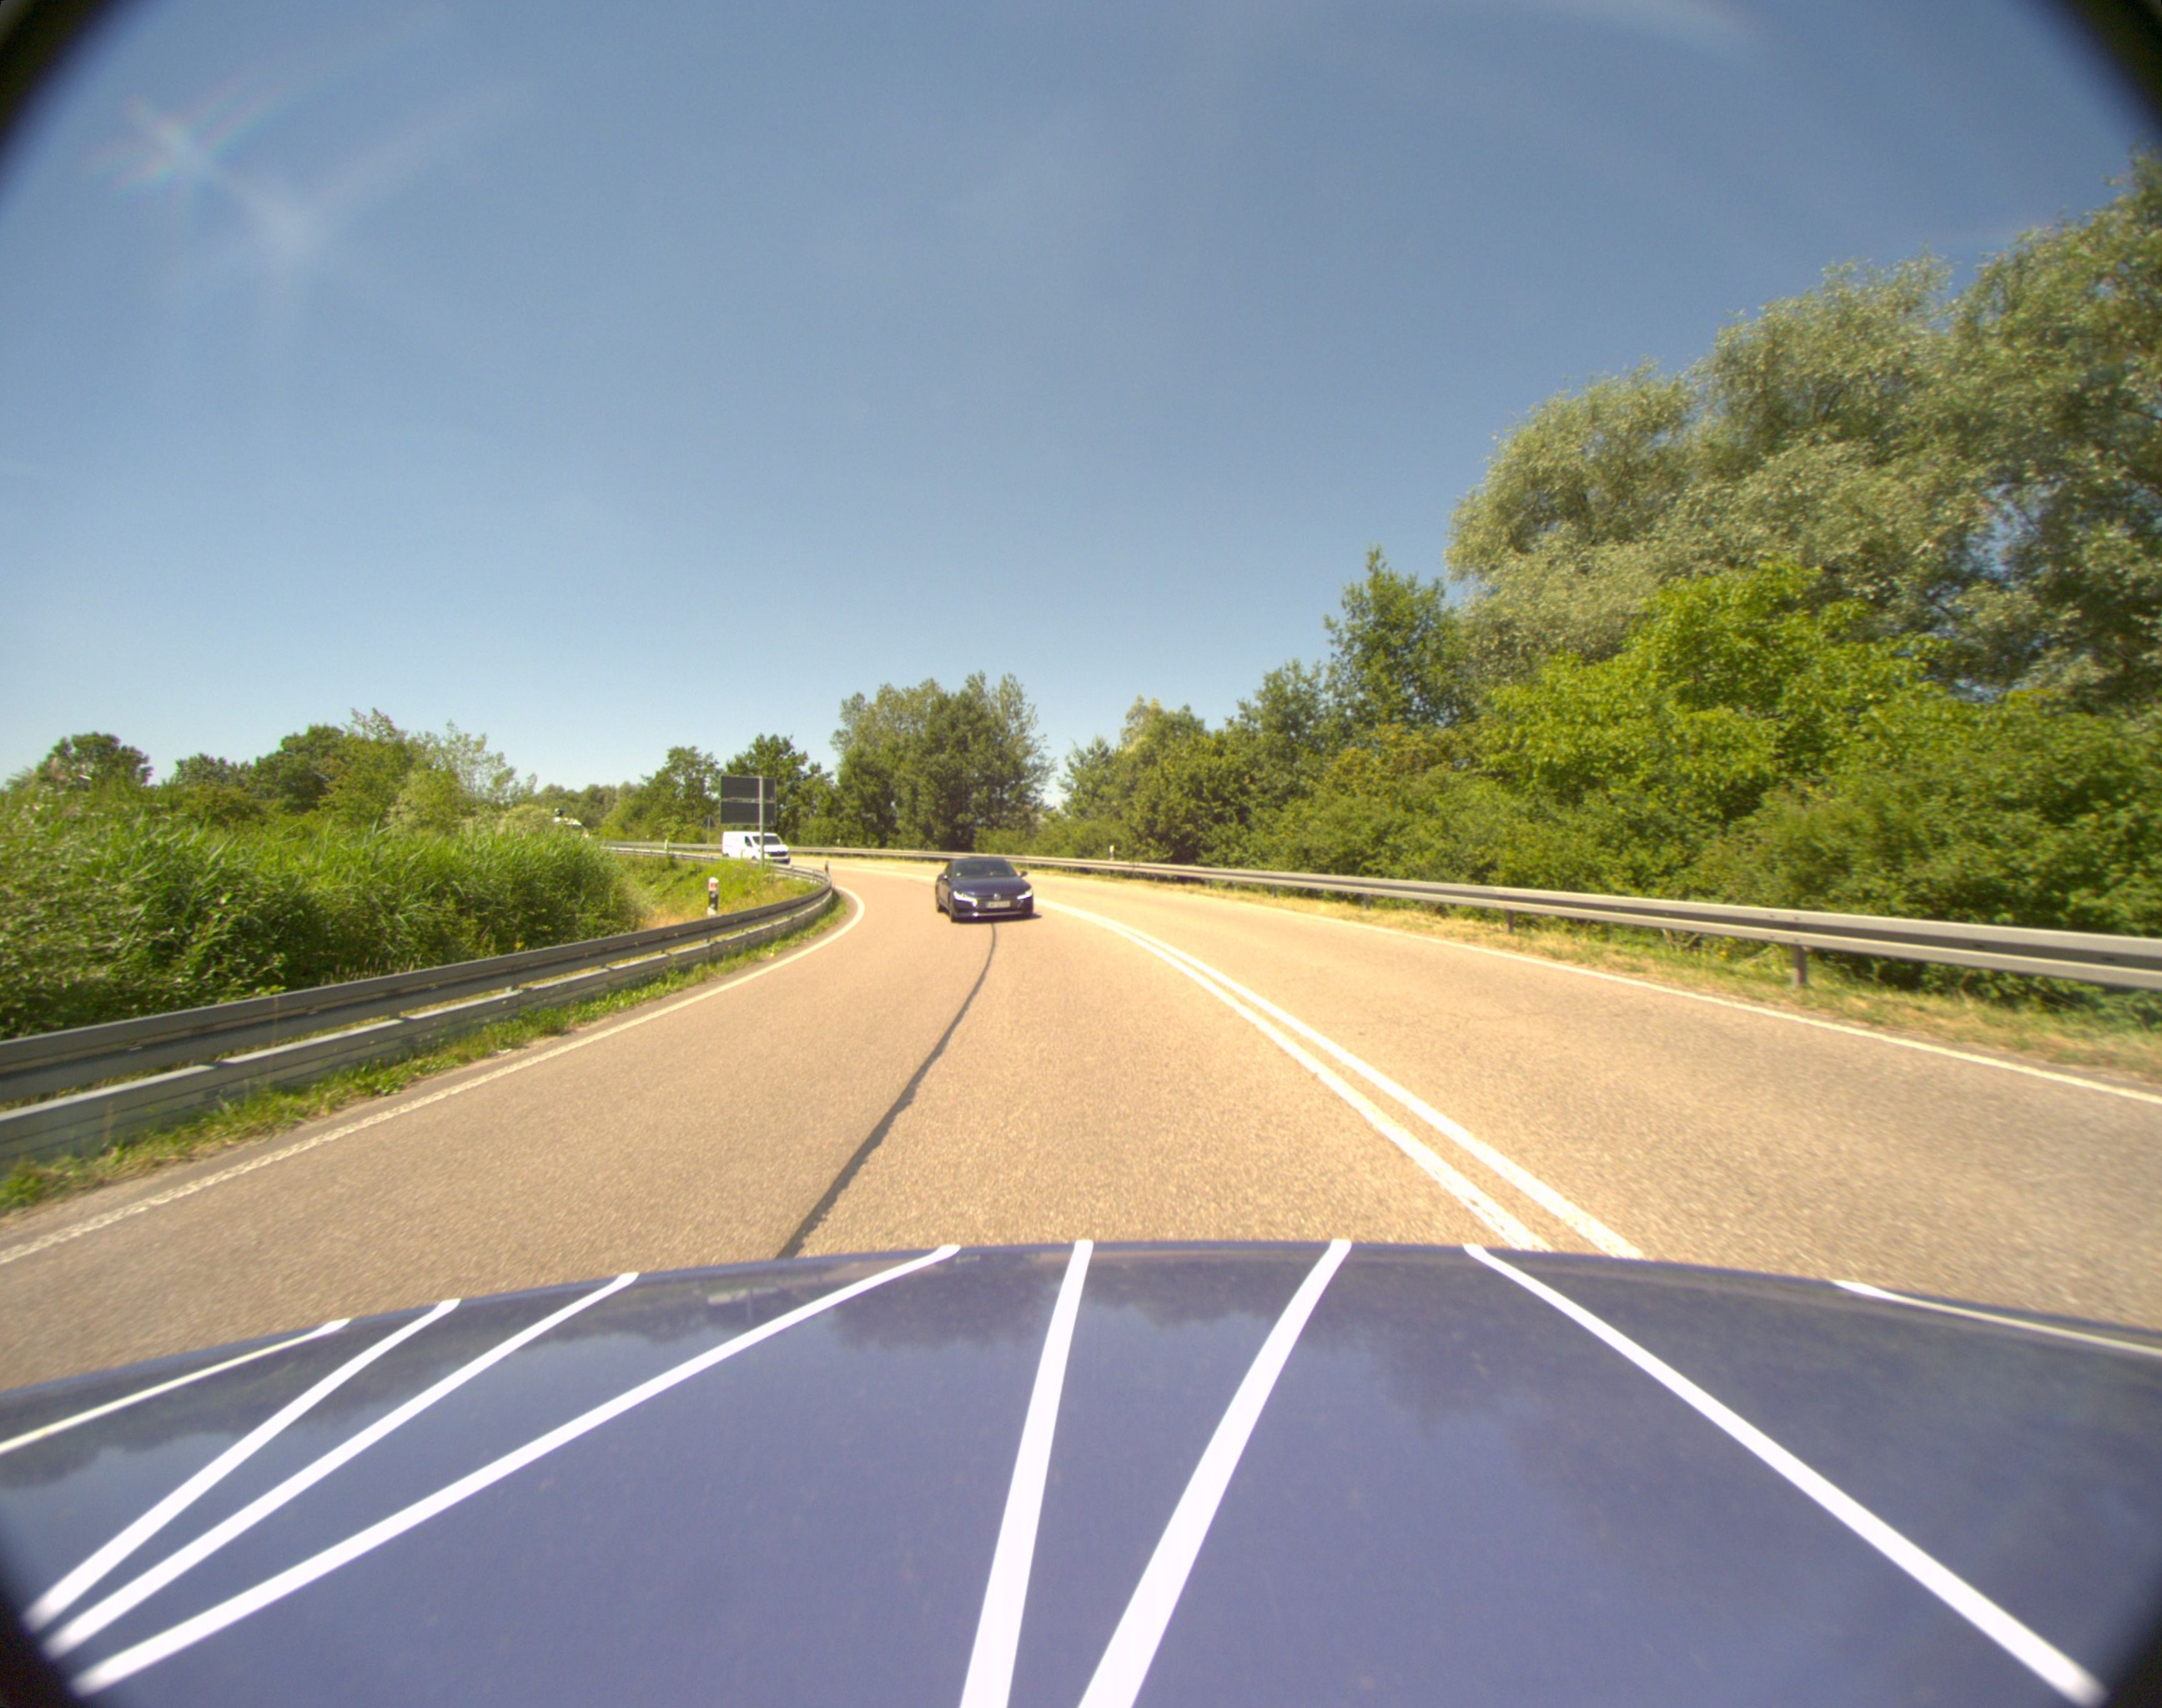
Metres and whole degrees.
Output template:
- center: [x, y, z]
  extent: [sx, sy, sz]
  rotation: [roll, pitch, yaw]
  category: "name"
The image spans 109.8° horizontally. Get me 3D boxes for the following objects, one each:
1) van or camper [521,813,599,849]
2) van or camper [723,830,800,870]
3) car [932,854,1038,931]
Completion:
- center: [-39.483, -1.716, 57.556]
  extent: [6.031, 2.541, 2.078]
  rotation: [0, 4, 27]
  category: "van or camper"
- center: [-18.652, -0.297, 44.202]
  extent: [5.430, 2.021, 2.014]
  rotation: [3, 5, 43]
  category: "van or camper"
- center: [-2.486, 0.827, 18.549]
  extent: [1.845, 1.423, 4.526]
  rotation: [-3, 2, -16]
  category: "car"
